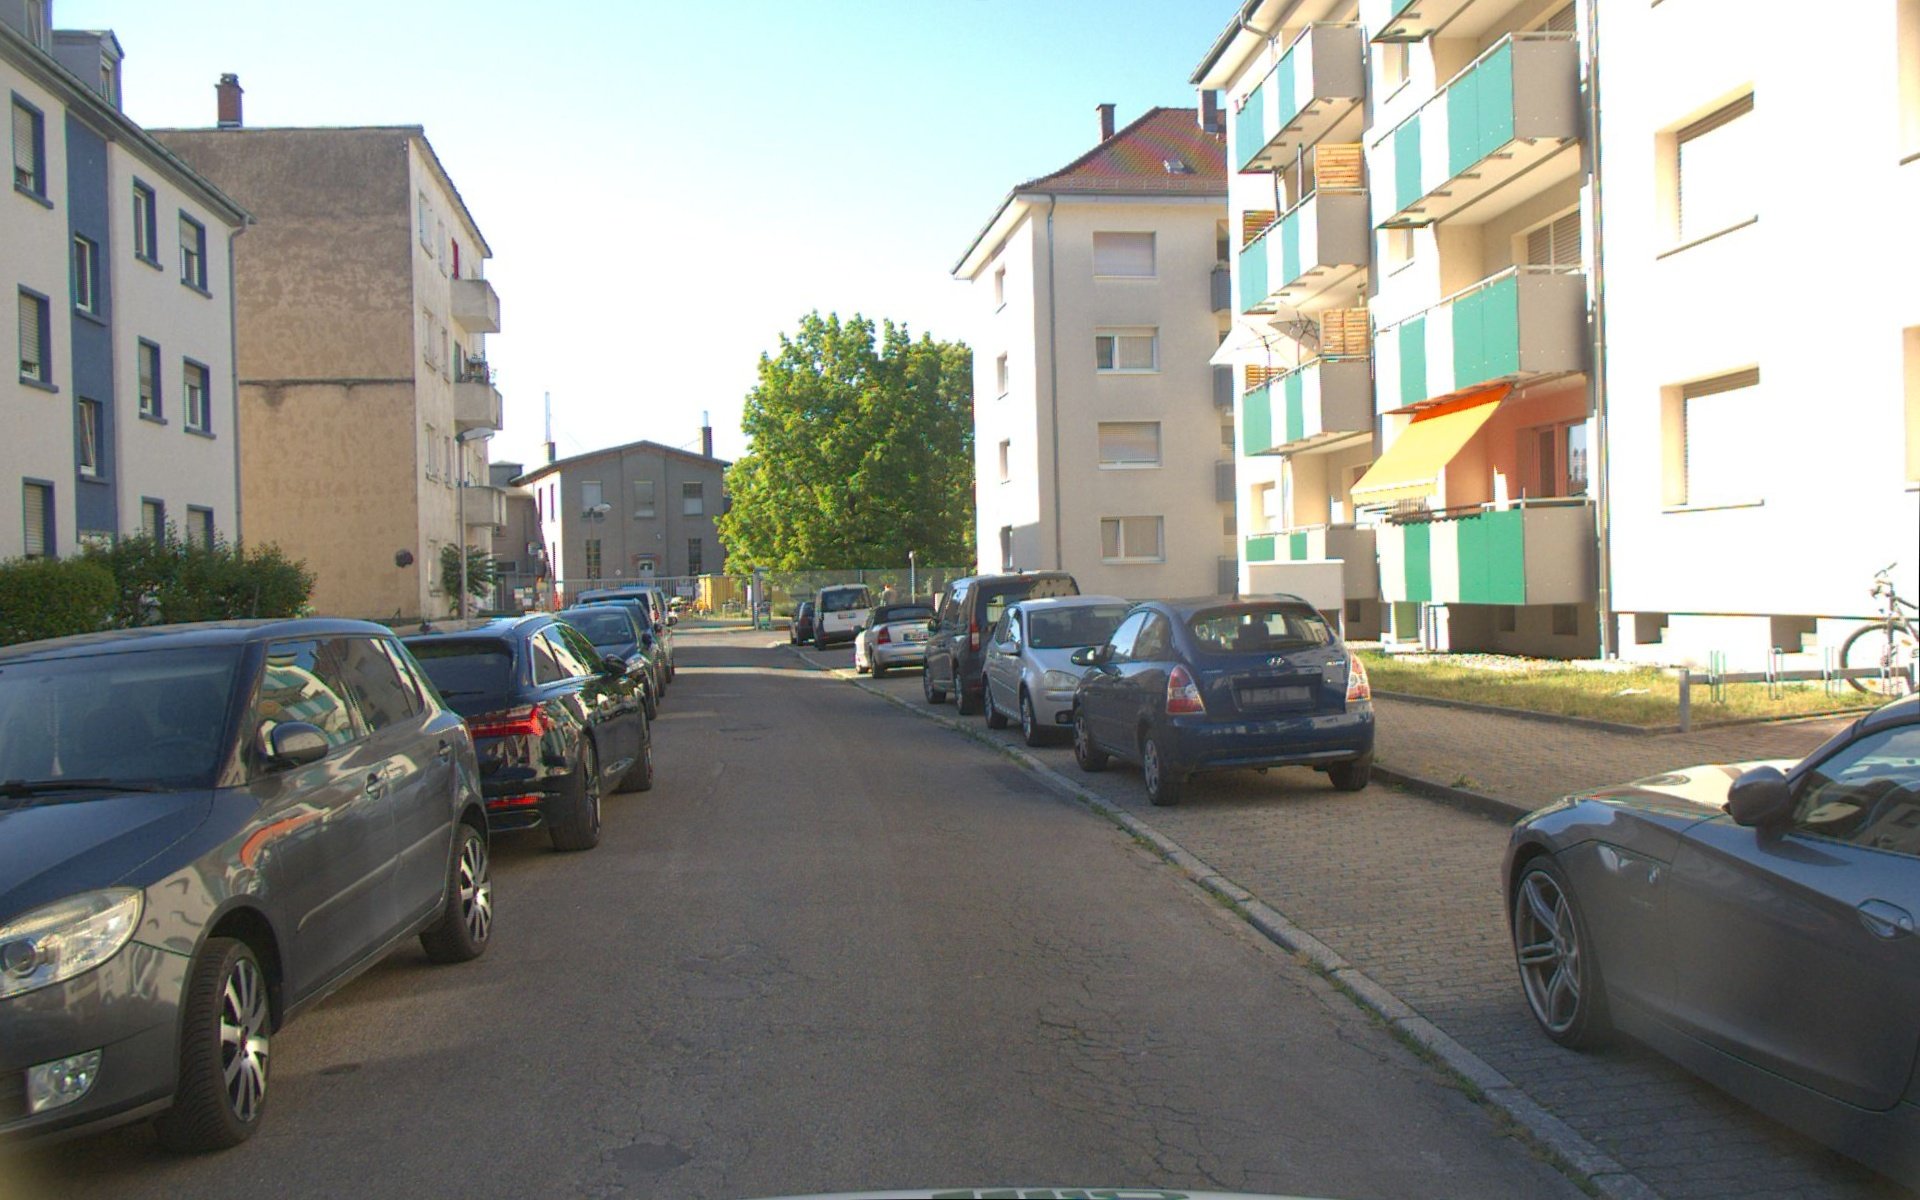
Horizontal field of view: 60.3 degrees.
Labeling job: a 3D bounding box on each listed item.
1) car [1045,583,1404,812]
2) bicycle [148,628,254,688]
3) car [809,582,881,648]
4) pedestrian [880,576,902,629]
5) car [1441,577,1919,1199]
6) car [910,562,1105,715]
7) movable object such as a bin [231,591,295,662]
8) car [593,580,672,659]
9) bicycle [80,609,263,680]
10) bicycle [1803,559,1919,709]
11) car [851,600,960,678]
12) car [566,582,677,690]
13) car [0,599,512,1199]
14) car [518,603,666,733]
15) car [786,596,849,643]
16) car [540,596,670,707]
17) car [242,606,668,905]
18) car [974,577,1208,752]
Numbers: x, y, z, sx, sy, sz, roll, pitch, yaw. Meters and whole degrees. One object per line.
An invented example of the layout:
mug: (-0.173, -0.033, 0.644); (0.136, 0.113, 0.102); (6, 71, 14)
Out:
car: (1.963, 0.673, 13.642); (1.705, 1.456, 4.349); (-4, 0, -7)
bicycle: (-13.807, 1.056, 30.107); (1.616, 0.953, 0.547); (-4, 0, -8)
car: (-3.502, 0.435, 49.746); (1.733, 1.769, 4.085); (-4, 0, -9)
pedestrian: (-2.435, 0.077, 58.635); (0.641, 1.847, 0.614); (-4, 0, 0)
car: (2.851, 0.691, 4.297); (1.652, 1.386, 4.237); (-4, 1, -4)
car: (0.557, 0.511, 23.457); (1.862, 1.888, 4.333); (-2, 0, -10)
movable object such as a bin: (-16.444, 0.619, 39.035); (1.049, 1.566, 1.354); (-4, 0, -12)
car: (-9.373, 0.545, 47.626); (1.957, 2.048, 4.444); (-4, 0, -9)
bicycle: (-13.086, 0.729, 27.536); (2.625, 1.150, 0.770); (0, 0, -16)
bicycle: (7.648, 0.252, 13.299); (0.637, 1.086, 1.731); (-6, 2, -5)
car: (-1.176, 0.774, 33.818); (1.686, 1.388, 4.046); (-4, 0, -9)
car: (-6.515, 0.667, 32.229); (1.862, 1.888, 4.186); (-2, 0, -9)
car: (-2.738, 0.831, 5.525); (1.449, 1.502, 3.630); (-6, 0, -2)
car: (-4.847, 0.837, 22.209); (1.628, 1.468, 3.863); (-4, 0, -9)
car: (-4.770, 0.614, 55.057); (1.733, 1.386, 4.085); (-4, 0, -9)
car: (-5.680, 0.777, 26.882); (1.800, 1.541, 3.991); (-4, 0, -10)
car: (-3.161, 0.851, 11.348); (1.709, 1.456, 4.594); (-5, 0, -4)
car: (1.310, 0.617, 18.227); (1.650, 1.615, 4.005); (-3, 1, -8)
